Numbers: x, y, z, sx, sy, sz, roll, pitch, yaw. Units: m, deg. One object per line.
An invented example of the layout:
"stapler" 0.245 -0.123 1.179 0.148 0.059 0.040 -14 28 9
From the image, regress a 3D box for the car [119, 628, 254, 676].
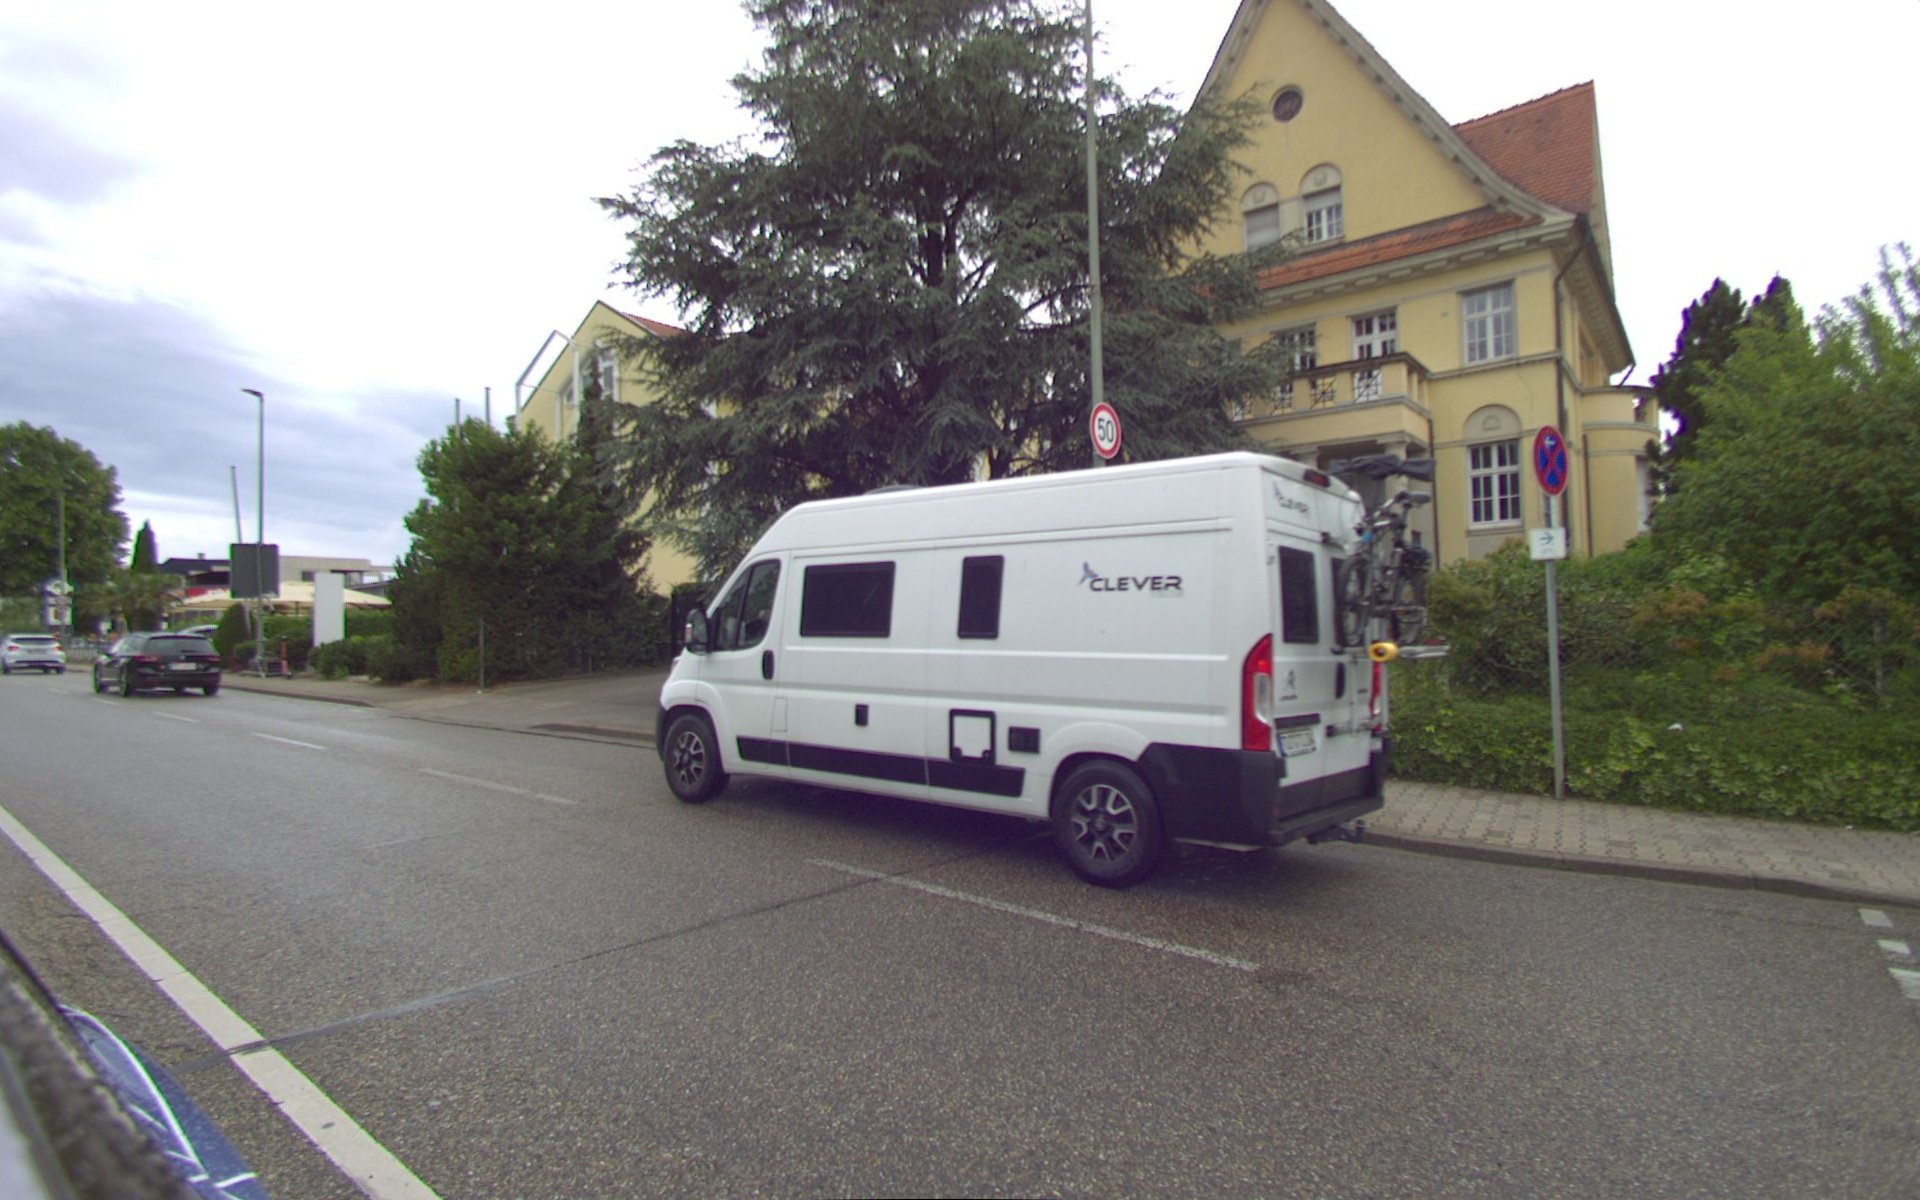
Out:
"car" -29.223 1.911 38.287 3.876 1.664 1.720 1 -2 -44

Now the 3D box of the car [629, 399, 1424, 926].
"car" 0.109 0.365 7.639 5.768 2.547 2.274 -1 -2 40

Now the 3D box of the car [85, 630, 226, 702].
"car" -19.027 1.476 23.865 4.468 1.513 1.758 -1 -1 40

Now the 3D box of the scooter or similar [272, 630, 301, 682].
"scooter or similar" -19.170 1.567 28.775 0.498 1.416 1.884 1 -2 -39

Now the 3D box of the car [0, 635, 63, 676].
"car" -34.748 2.002 37.463 3.798 1.408 1.729 -1 -2 39

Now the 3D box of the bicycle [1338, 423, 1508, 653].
"bicycle" 2.664 -0.270 5.742 0.467 1.134 1.620 -2 -4 39
